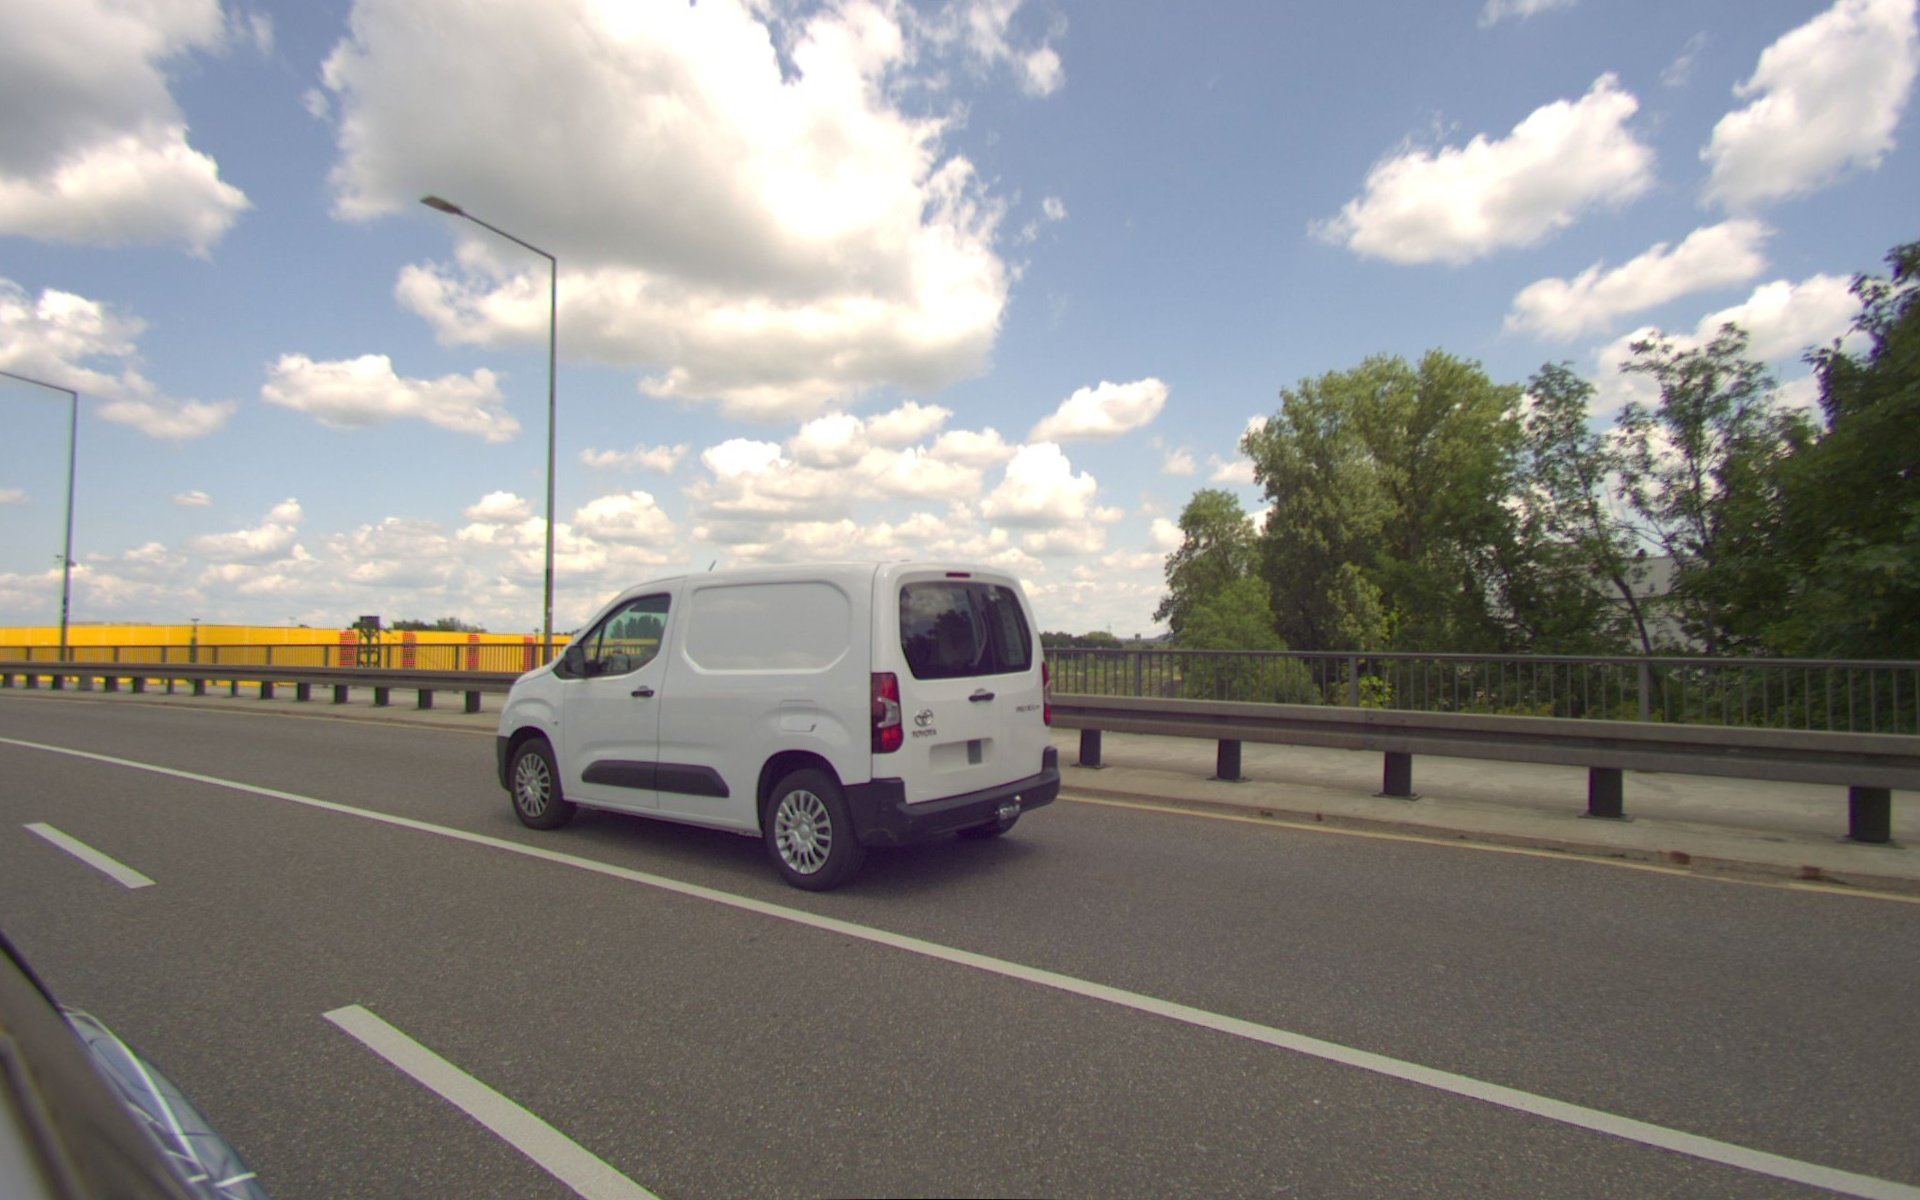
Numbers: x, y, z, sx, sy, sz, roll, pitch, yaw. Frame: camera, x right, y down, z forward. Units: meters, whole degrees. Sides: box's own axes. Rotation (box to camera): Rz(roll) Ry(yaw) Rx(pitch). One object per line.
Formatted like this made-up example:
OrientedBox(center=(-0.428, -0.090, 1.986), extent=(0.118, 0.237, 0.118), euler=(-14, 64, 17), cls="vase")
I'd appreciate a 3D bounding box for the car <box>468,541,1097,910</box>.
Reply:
OrientedBox(center=(-1.394, 0.669, 6.890), extent=(4.299, 1.767, 1.796), euler=(-2, -2, 38), cls="car")
